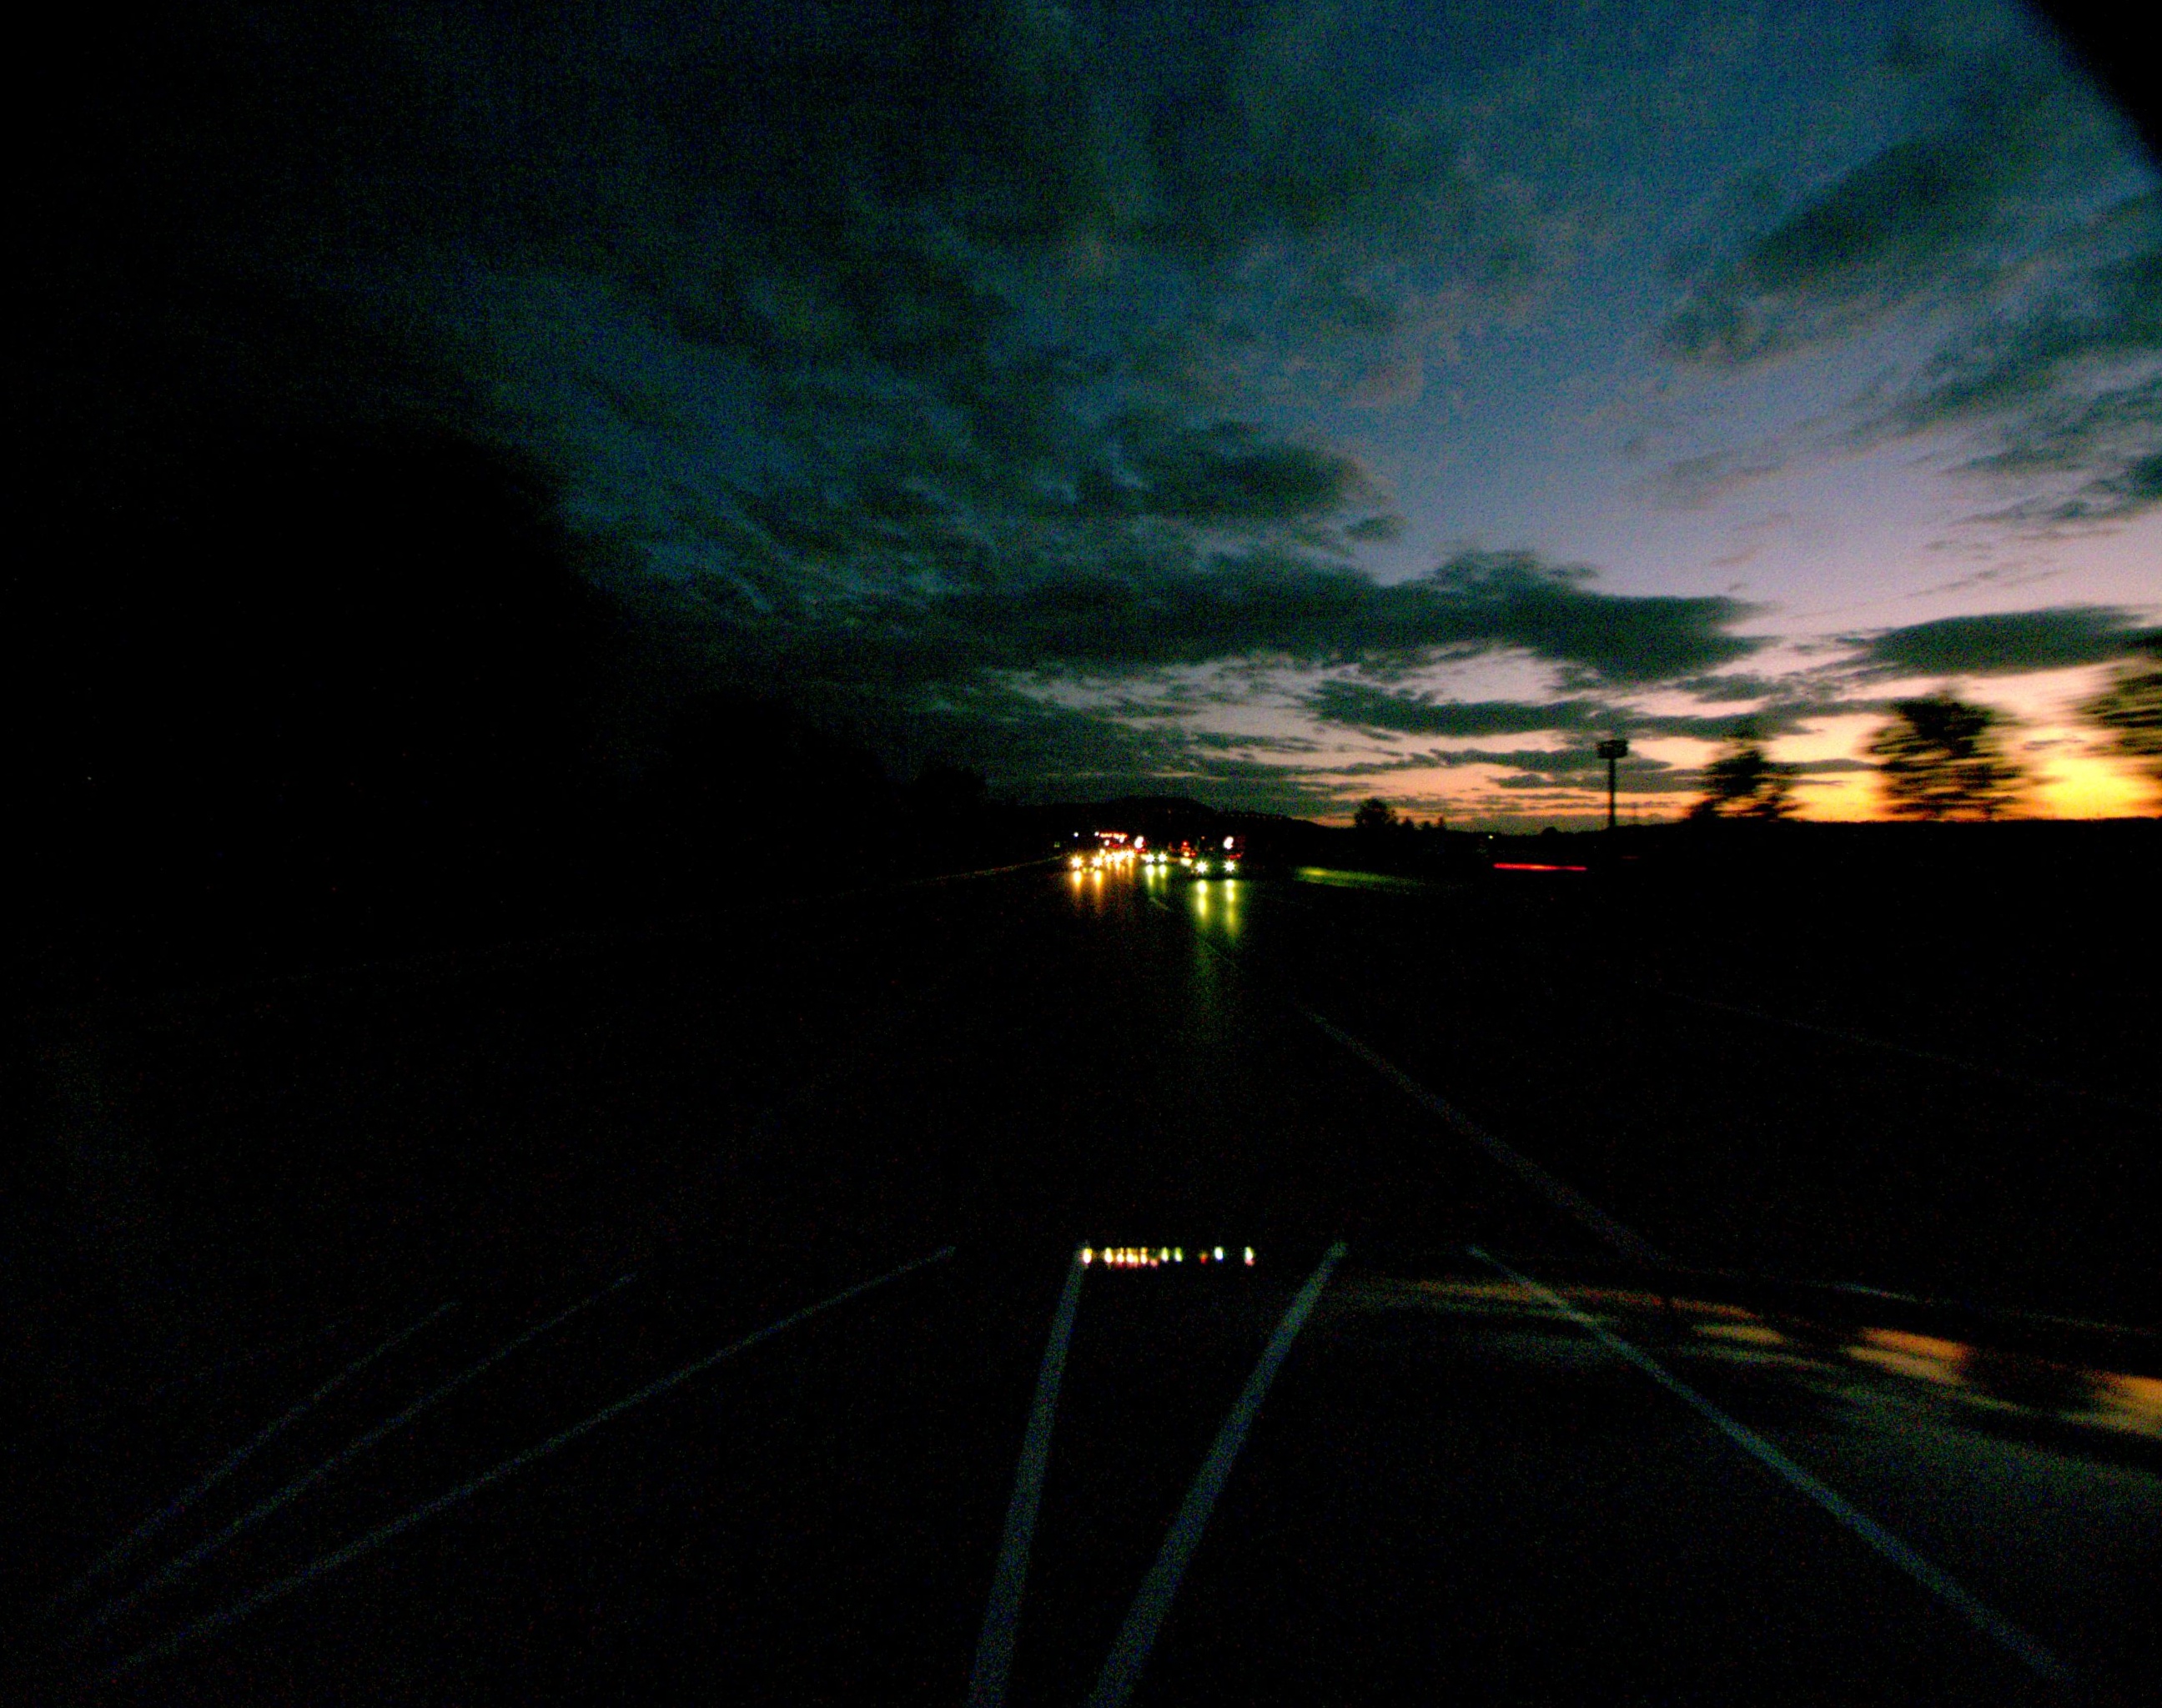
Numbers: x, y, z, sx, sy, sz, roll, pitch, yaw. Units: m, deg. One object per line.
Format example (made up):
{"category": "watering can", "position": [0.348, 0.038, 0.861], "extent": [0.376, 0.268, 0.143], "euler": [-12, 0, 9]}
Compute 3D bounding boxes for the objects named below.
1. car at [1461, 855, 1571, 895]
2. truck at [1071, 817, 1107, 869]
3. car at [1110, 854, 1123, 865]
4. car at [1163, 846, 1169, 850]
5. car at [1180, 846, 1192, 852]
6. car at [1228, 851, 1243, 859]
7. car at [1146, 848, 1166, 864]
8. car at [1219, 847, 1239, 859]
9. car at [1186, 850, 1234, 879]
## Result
{"category": "car", "position": [15.692, 0.704, 27.659], "extent": [1.707, 1.241, 3.999], "euler": [-2, 1, 1]}
{"category": "truck", "position": [0.818, -1.000, 75.121], "extent": [3.012, 4.570, 12.578], "euler": [-2, 0, 1]}
{"category": "car", "position": [5.368, 0.754, 115.067], "extent": [1.802, 1.531, 4.159], "euler": [-2, 1, 1]}
{"category": "car", "position": [26.899, -1.814, 240.525], "extent": [1.540, 1.184, 3.609], "euler": [-2, 1, 1]}
{"category": "car", "position": [21.084, -1.019, 152.317], "extent": [1.936, 1.171, 3.999], "euler": [-2, 1, 1]}
{"category": "car", "position": [25.426, 0.103, 125.409], "extent": [1.722, 1.171, 3.999], "euler": [-2, 1, 1]}
{"category": "car", "position": [8.753, 0.201, 89.334], "extent": [1.819, 1.638, 4.856], "euler": [-2, 1, 1]}
{"category": "car", "position": [17.361, -0.101, 89.007], "extent": [1.658, 1.282, 3.645], "euler": [-2, 1, 1]}
{"category": "car", "position": [7.304, 0.539, 43.409], "extent": [1.819, 1.429, 5.394], "euler": [-2, 1, 1]}
